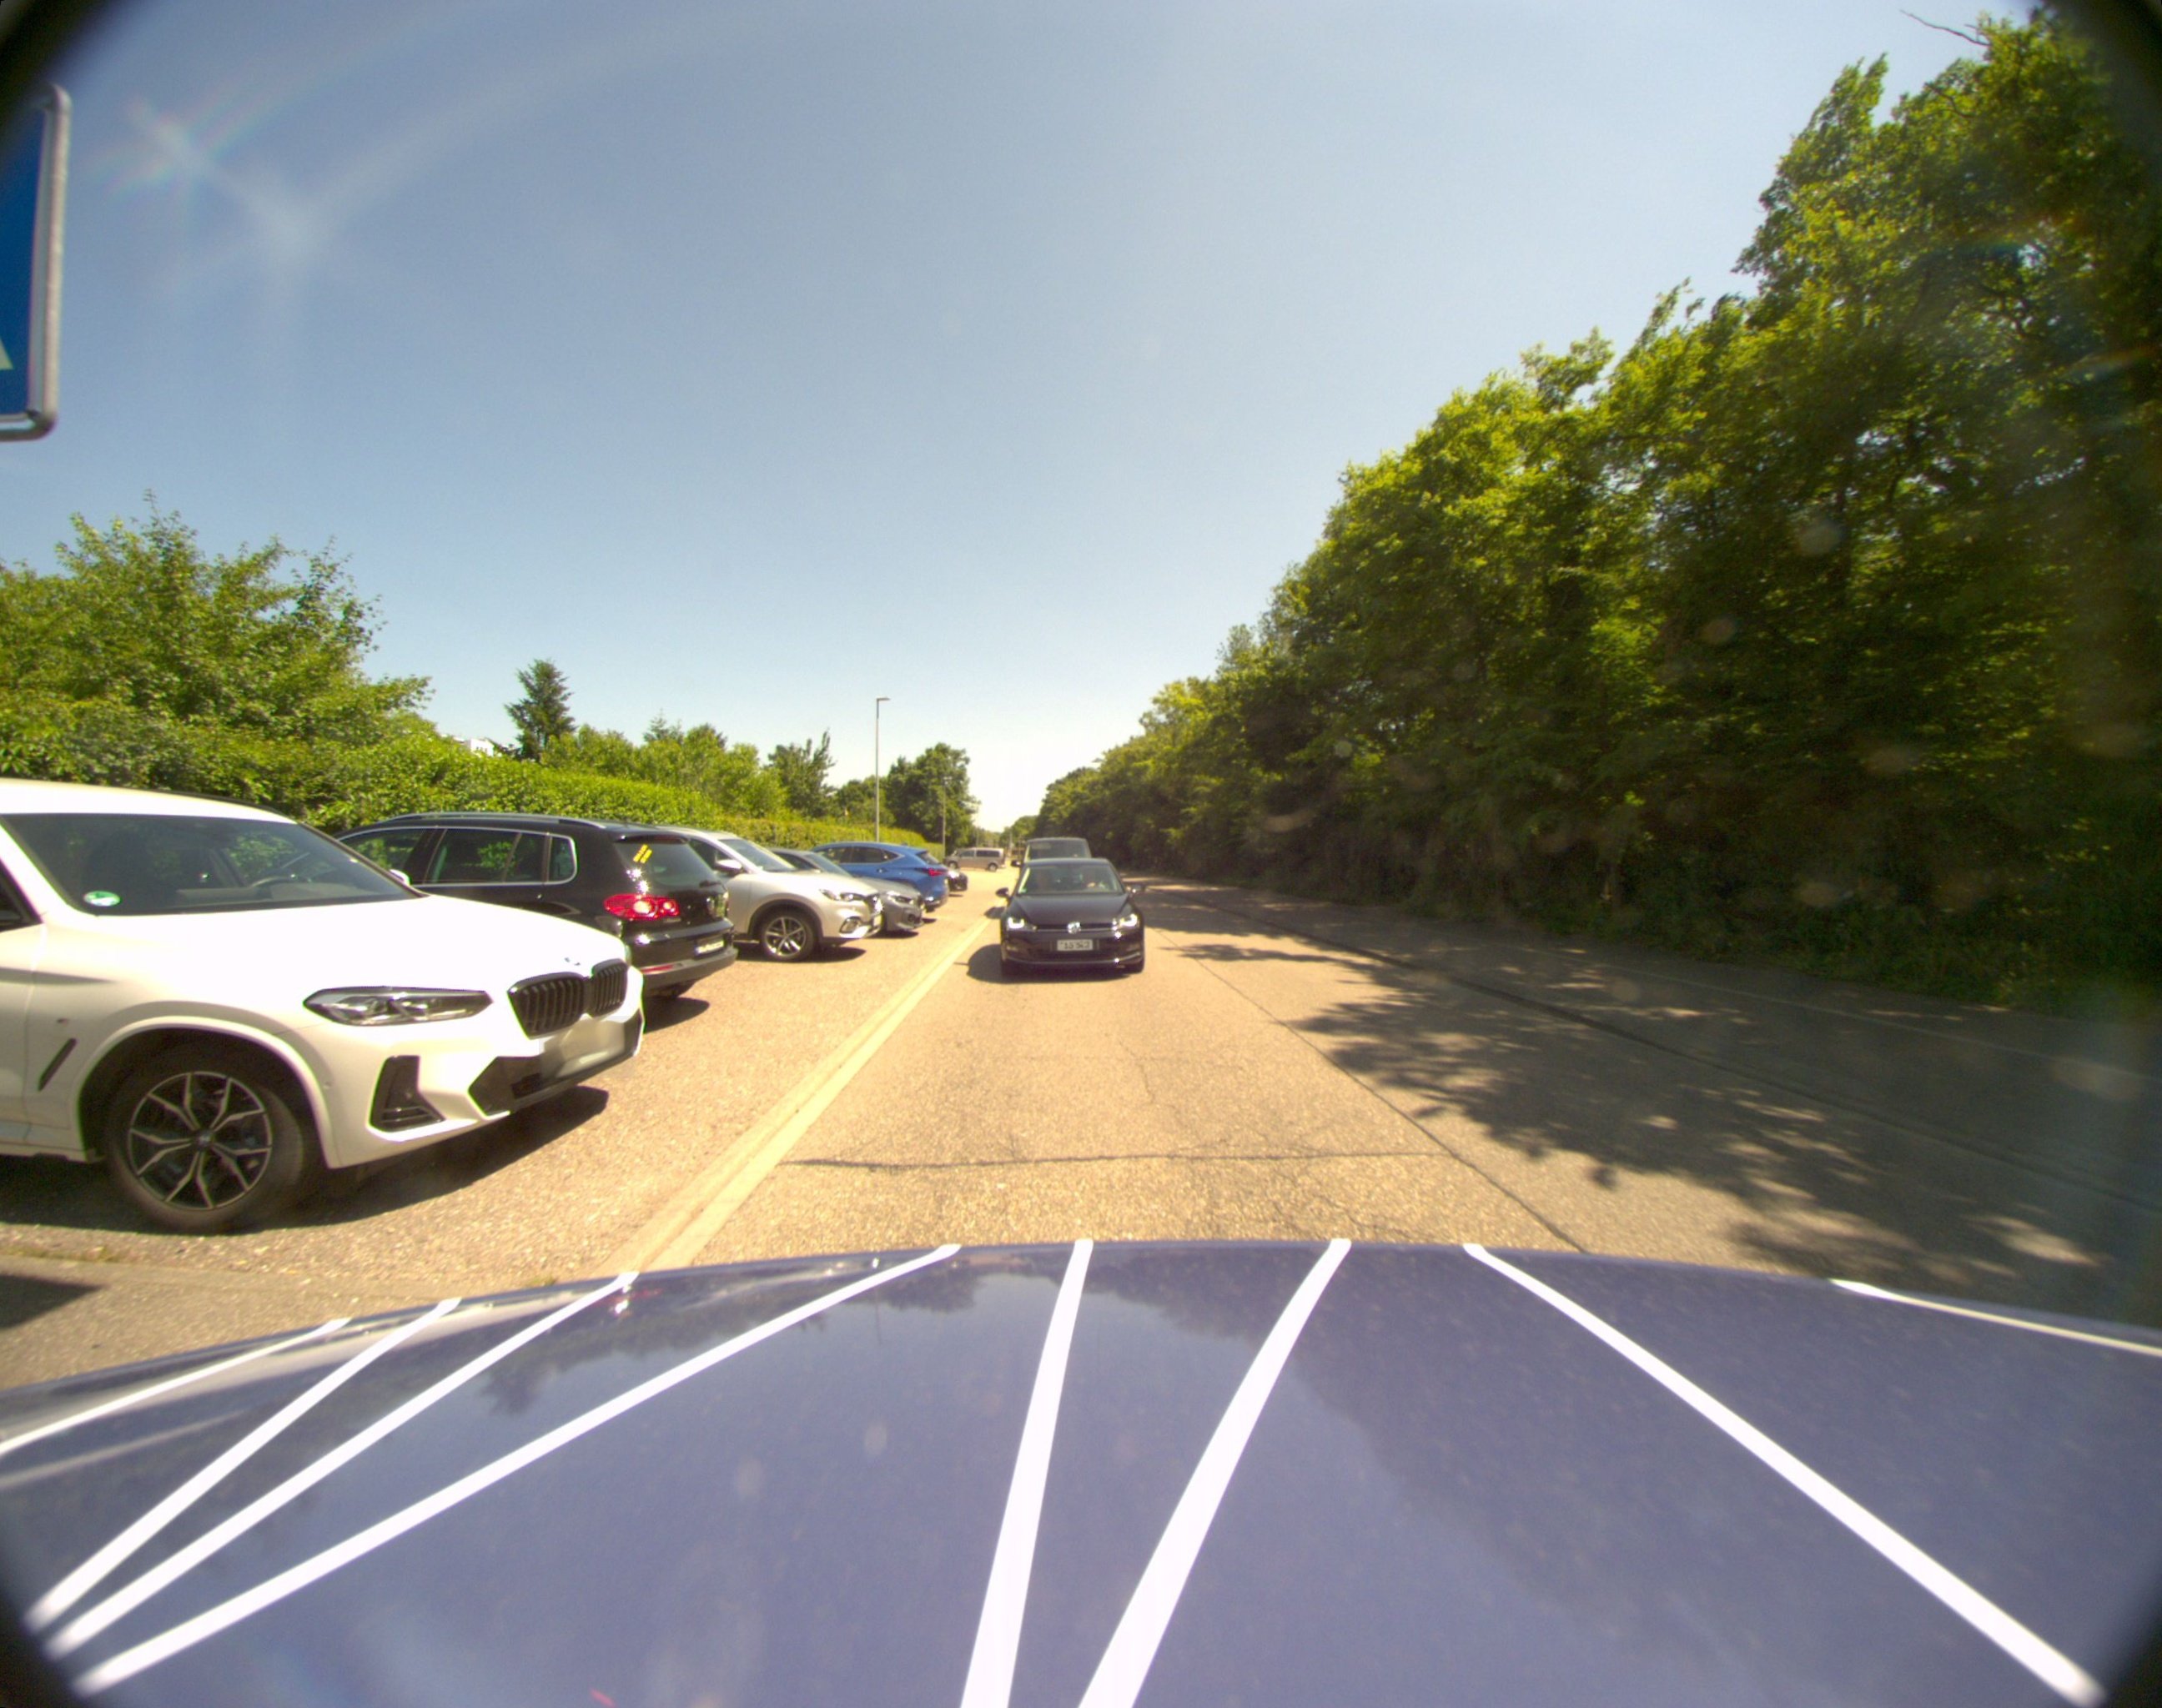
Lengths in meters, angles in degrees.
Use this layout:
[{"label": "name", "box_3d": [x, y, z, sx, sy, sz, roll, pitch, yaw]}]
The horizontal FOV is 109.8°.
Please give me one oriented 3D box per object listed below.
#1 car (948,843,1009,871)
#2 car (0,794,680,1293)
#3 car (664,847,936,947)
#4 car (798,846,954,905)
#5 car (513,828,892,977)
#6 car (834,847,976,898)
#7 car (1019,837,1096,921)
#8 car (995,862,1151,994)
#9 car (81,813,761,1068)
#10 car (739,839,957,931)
[{"label": "car", "box_3d": [-7.874, 0.214, 58.594, 4.494, 1.840, 1.694, 3, 0, -6]}, {"label": "car", "box_3d": [-4.650, 0.598, 3.594, 4.465, 1.720, 1.850, 2, 1, -1]}, {"label": "car", "box_3d": [-4.716, 0.701, 13.186, 4.037, 1.401, 1.679, 3, 1, -3]}, {"label": "car", "box_3d": [-5.897, 0.598, 22.167, 4.037, 1.438, 1.649, 3, 1, -2]}, {"label": "car", "box_3d": [-4.879, 0.603, 10.309, 4.171, 1.632, 1.775, 3, 1, -4]}, {"label": "car", "box_3d": [-5.721, 0.583, 25.083, 4.252, 1.410, 1.649, 3, 1, -2]}, {"label": "car", "box_3d": [-0.630, 0.565, 19.643, 1.743, 1.905, 4.386, -1, 0, -3]}, {"label": "car", "box_3d": [-0.183, 0.856, 10.755, 1.743, 1.396, 4.386, -1, 0, -3]}, {"label": "car", "box_3d": [-5.040, 0.621, 6.280, 3.983, 1.676, 1.766, 2, 1, -2]}, {"label": "car", "box_3d": [-4.796, 0.613, 16.058, 4.037, 1.632, 1.673, 3, 1, -2]}]
